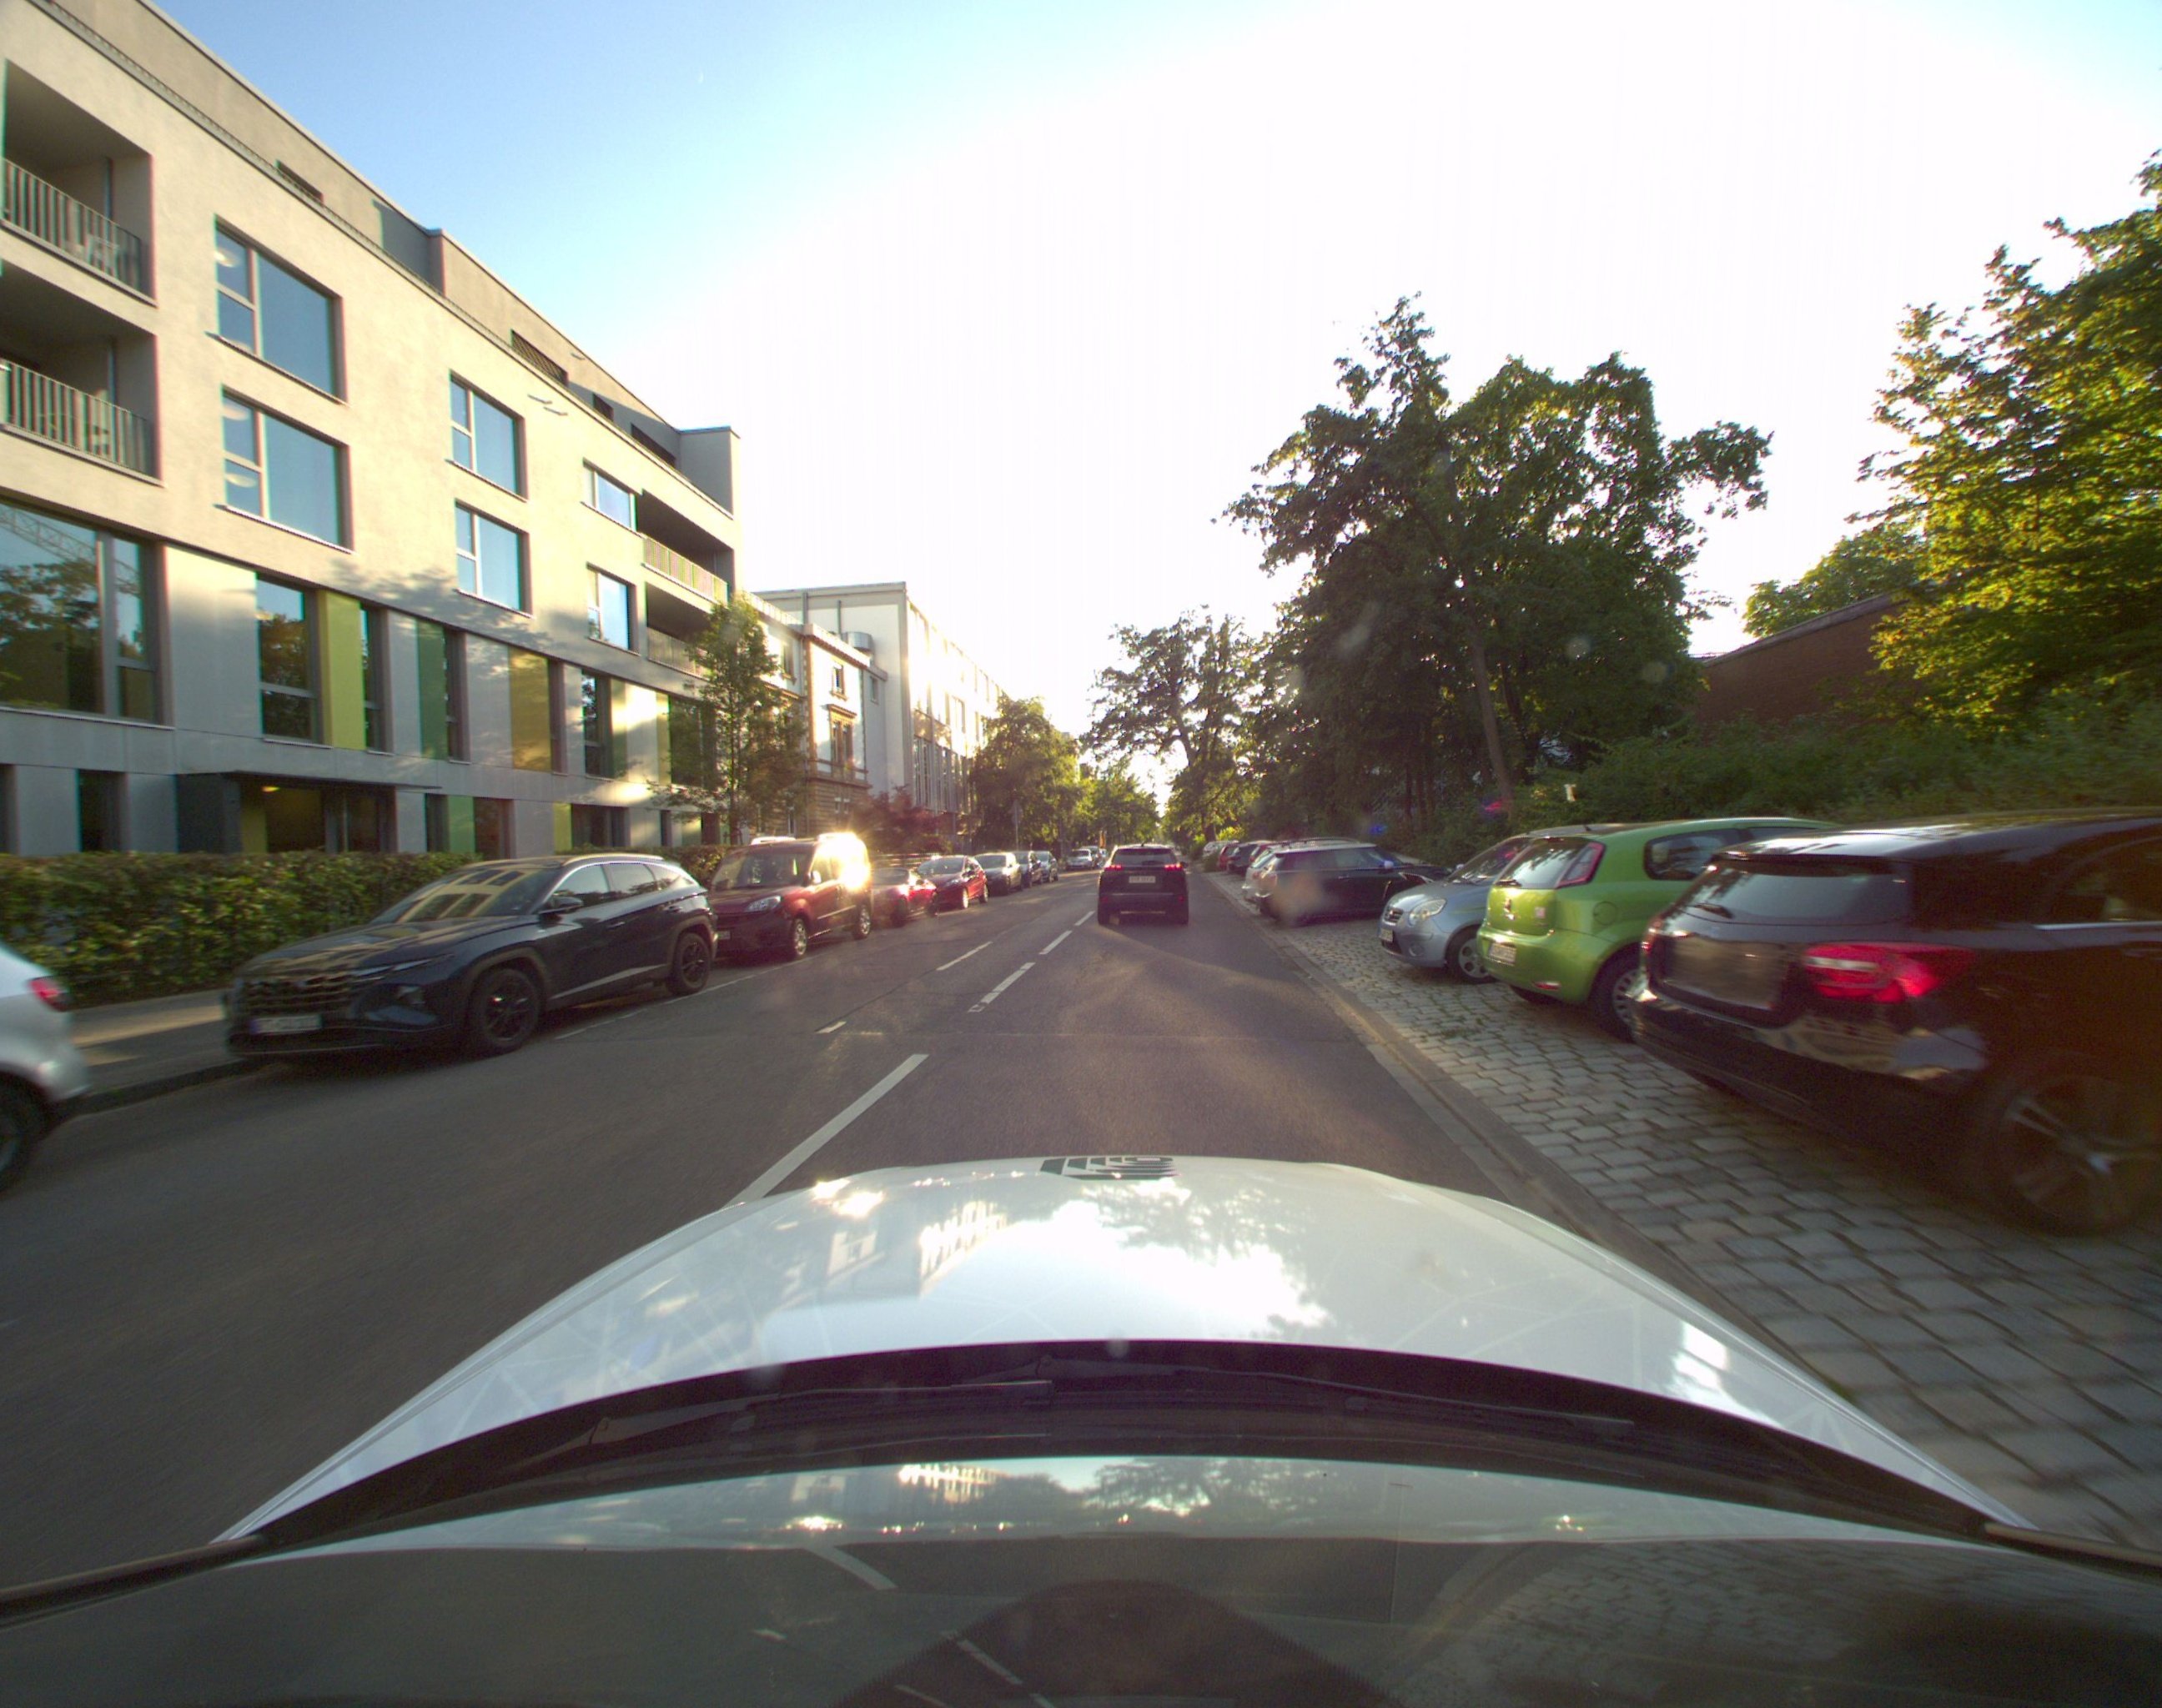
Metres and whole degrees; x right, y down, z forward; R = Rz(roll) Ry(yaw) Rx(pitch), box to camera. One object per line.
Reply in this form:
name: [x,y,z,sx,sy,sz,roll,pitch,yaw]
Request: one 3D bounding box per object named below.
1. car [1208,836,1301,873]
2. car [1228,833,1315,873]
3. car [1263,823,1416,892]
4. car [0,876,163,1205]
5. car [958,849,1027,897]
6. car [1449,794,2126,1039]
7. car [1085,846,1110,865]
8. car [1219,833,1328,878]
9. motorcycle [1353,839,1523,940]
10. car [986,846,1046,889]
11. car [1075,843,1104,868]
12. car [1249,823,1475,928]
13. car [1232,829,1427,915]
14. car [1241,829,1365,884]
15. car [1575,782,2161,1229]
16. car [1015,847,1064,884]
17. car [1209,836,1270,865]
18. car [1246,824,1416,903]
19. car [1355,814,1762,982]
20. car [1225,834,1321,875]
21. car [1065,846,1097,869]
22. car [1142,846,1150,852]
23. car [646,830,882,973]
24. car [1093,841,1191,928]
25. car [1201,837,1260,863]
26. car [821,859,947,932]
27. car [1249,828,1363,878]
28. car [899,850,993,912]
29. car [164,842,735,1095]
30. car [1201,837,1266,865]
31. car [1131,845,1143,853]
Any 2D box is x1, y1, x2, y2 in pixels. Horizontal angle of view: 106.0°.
car: [8.663,0.002,40.947,4.315,1.475,1.745,-5,1,7]
car: [9.005,-0.067,38.742,3.697,1.555,1.743,-5,0,2]
car: [7.126,0.098,22.798,3.706,1.498,1.823,-5,-1,6]
car: [-6.130,0.951,2.495,1.734,1.533,4.121,-3,0,4]
car: [-3.080,0.628,29.109,1.591,1.455,4.061,-3,1,5]
car: [5.003,0.428,6.251,3.608,1.540,1.675,-2,1,6]
car: [1.418,0.112,68.023,1.670,1.457,3.890,-3,1,7]
car: [7.799,0.057,33.320,4.098,1.474,1.836,-5,0,7]
motorcycle: [5.128,0.502,11.831,2.078,1.304,0.781,-4,0,12]
car: [-2.618,0.513,33.714,1.589,1.507,3.796,-3,1,8]
car: [0.691,0.048,61.694,1.670,1.708,4.349,-3,1,7]
car: [5.126,0.371,15.233,3.594,1.525,1.674,-5,0,4]
car: [5.253,0.355,17.609,3.650,1.444,1.737,-5,0,4]
car: [7.497,0.095,27.821,3.788,1.474,1.760,-5,-1,6]
car: [4.684,0.458,3.554,3.930,1.512,1.742,-3,0,5]
car: [-1.921,0.497,38.494,1.592,1.493,3.780,-3,1,7]
car: [10.021,-0.195,51.712,3.571,1.566,1.821,-4,-1,5]
car: [6.105,0.227,20.226,3.650,1.552,1.737,-5,0,4]
car: [4.915,0.441,8.787,3.370,1.525,1.673,-2,0,4]
car: [8.490,0.006,36.212,3.903,1.454,1.836,-5,0,7]
car: [0.024,0.207,56.148,1.662,1.493,4.069,-2,0,7]
car: [15.465,-1.215,194.594,1.803,1.354,4.003,-3,1,3]
car: [-4.931,0.624,13.437,1.799,1.889,4.245,-3,1,5]
car: [1.298,0.545,16.709,1.759,1.568,3.386,-1,1,6]
car: [10.805,-0.277,58.900,4.144,1.710,1.873,-1,0,10]
car: [-4.300,0.854,18.355,1.548,1.280,3.739,-3,1,5]
car: [8.388,-0.020,30.576,3.788,1.474,1.835,-5,-1,6]
car: [-3.693,0.693,22.956,1.591,1.455,3.868,-3,1,5]
car: [-5.397,0.785,7.928,1.733,1.676,4.423,-3,1,5]
car: [10.099,-0.232,54.200,4.101,1.667,1.726,-2,0,6]
car: [9.911,-0.853,144.642,1.804,1.354,4.001,-3,1,1]
